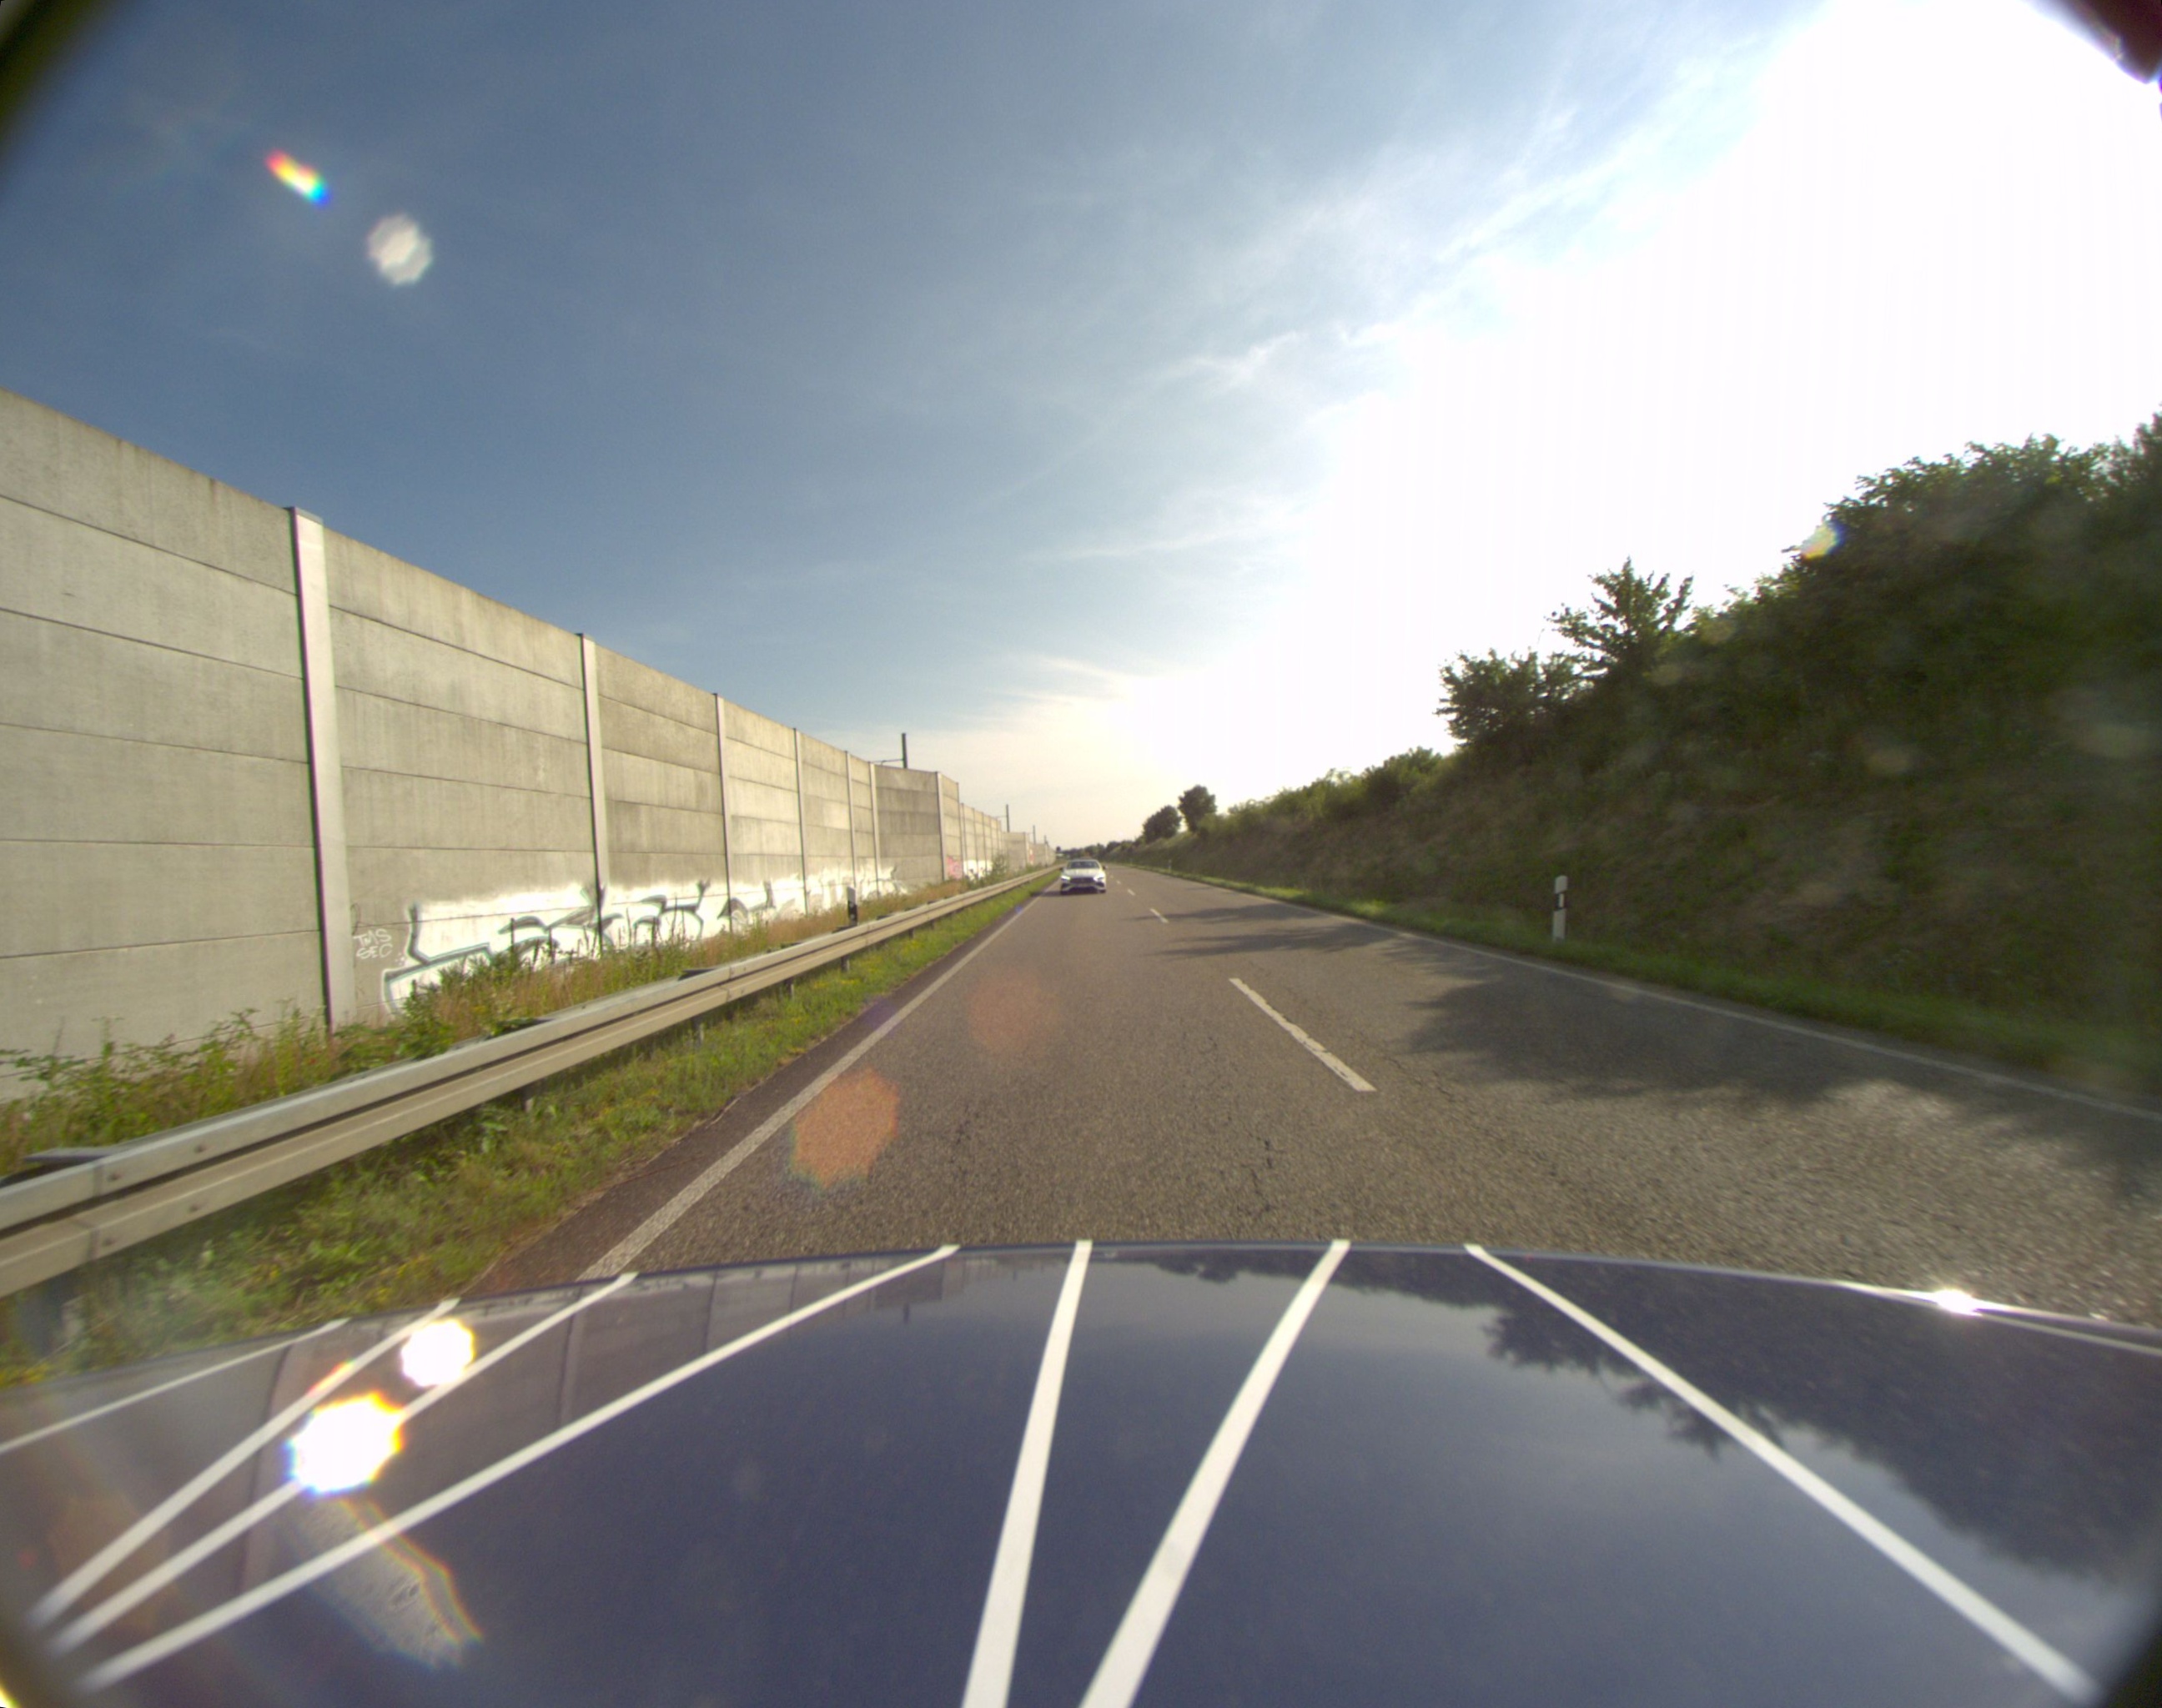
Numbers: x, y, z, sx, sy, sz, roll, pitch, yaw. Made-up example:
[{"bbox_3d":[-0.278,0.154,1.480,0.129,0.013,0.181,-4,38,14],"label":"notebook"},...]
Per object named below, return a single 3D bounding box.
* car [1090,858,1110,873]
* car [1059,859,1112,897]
[{"bbox_3d":[1.928,1.188,79.241,1.930,1.399,4.974,-1,0,0],"label":"car"},{"bbox_3d":[0.107,0.965,32.558,1.930,1.398,4.973,-3,0,-3],"label":"car"}]
